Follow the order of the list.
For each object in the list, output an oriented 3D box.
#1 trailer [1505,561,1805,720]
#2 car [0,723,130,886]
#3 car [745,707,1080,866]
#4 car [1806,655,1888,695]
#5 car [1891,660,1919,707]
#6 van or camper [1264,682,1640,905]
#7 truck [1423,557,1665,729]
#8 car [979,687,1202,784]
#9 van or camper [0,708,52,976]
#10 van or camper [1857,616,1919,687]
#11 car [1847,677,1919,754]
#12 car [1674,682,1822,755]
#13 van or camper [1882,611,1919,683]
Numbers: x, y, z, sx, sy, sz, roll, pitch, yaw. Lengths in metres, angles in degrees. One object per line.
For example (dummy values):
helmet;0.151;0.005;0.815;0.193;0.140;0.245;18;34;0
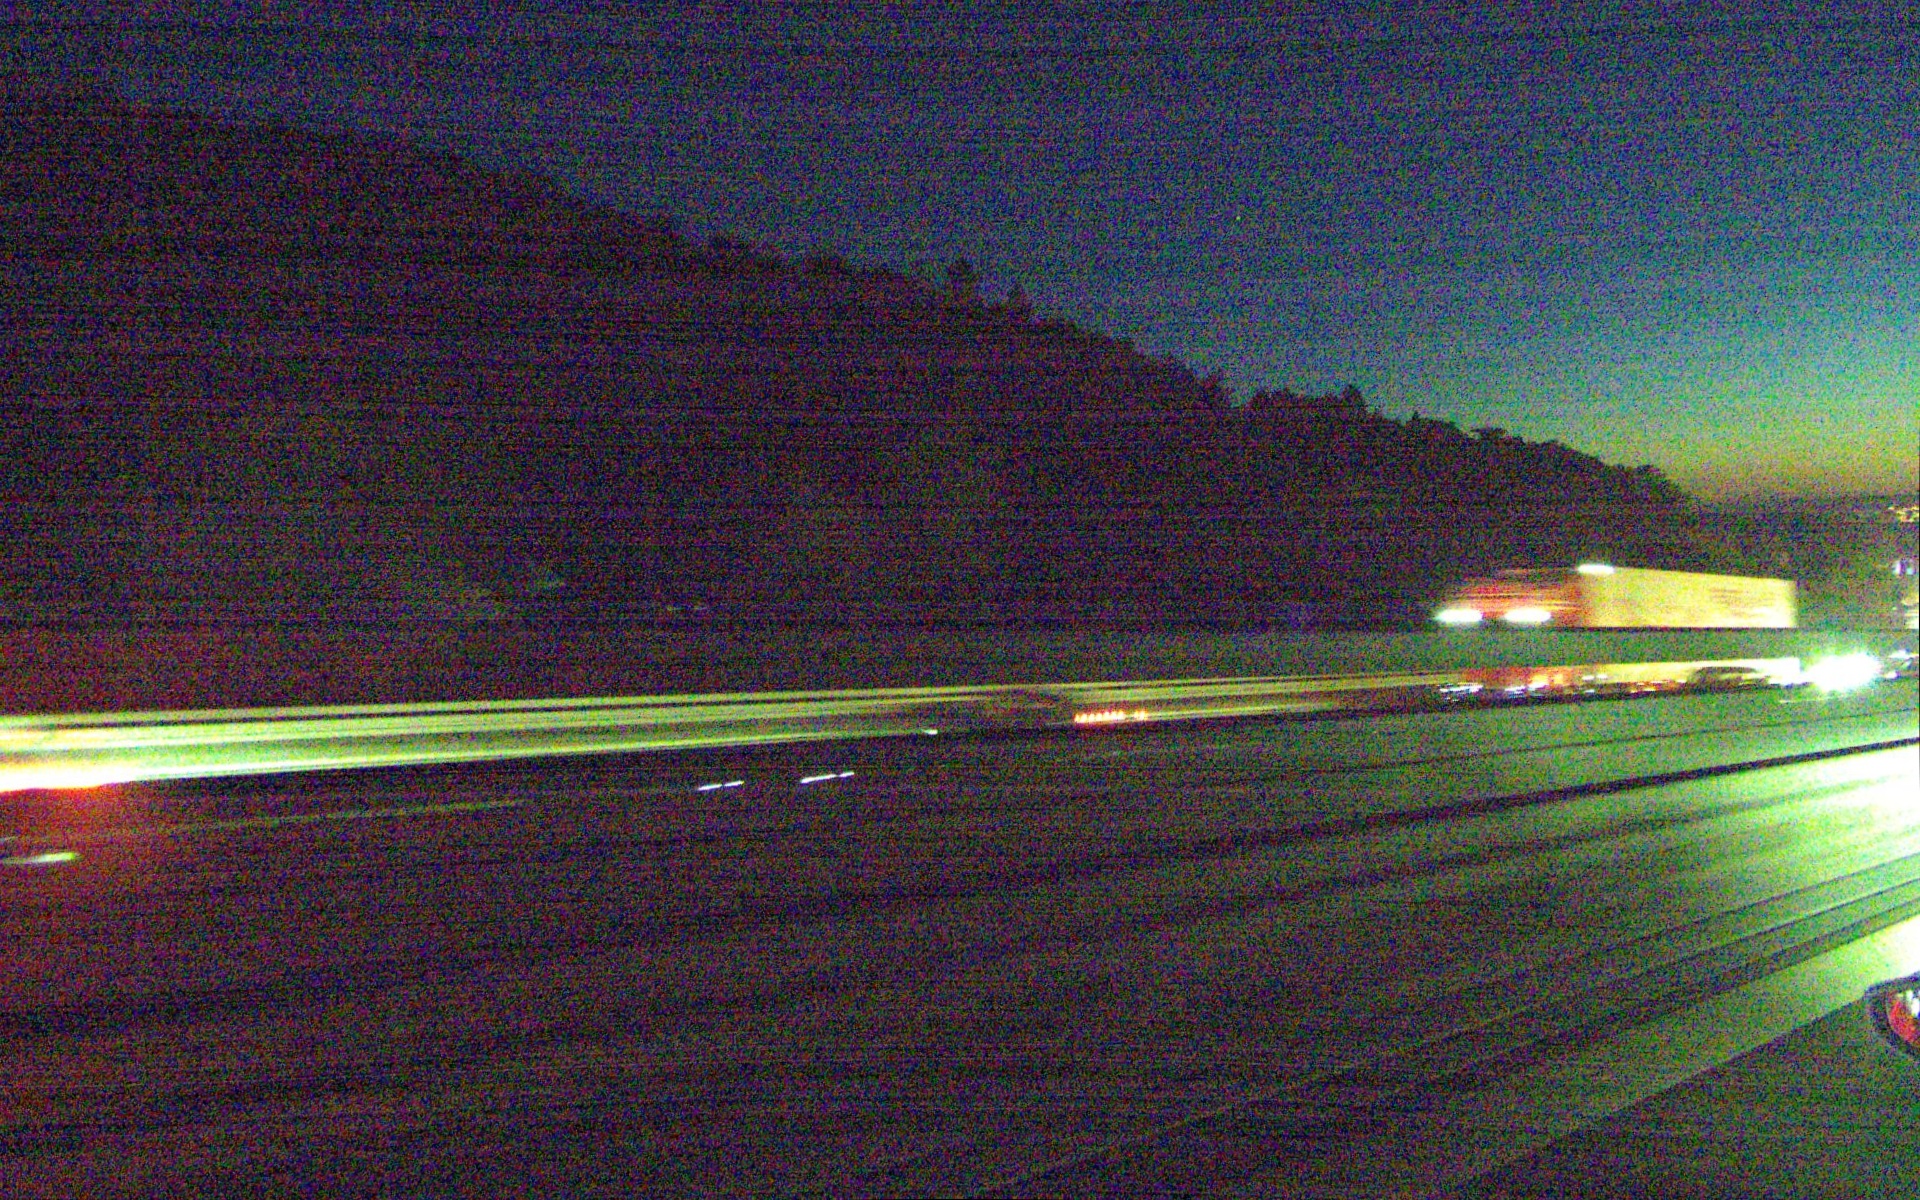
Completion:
trailer;22.570;1.252;32.189;12.696;4.296;3.416;1;-2;-34
car;-11.454;2.211;10.535;3.953;1.461;1.829;1;-1;-30
car;-0.543;2.210;12.649;3.953;1.461;1.593;1;-2;-31
car;35.780;2.996;40.511;3.960;1.461;1.590;1;-2;-35
car;33.442;2.843;34.305;3.960;1.461;1.590;1;-2;-35
van or camper;6.066;2.137;12.271;4.524;2.040;2.020;1;-2;-31
truck;16.351;1.163;28.063;6.215;4.278;3.399;1;-2;-33
car;2.477;2.472;18.901;3.948;1.461;1.595;1;-1;-27
van or camper;-10.073;1.955;7.039;5.162;2.040;1.983;1;-2;-31
van or camper;42.373;2.254;45.277;6.344;3.011;1.820;1;-2;-39
car;21.438;2.534;22.418;3.960;1.461;1.590;1;-2;-35
car;19.215;2.813;24.436;4.339;1.461;1.591;1;-2;-34
van or camper;47.450;2.278;49.406;5.645;3.424;2.251;1;-2;-39
